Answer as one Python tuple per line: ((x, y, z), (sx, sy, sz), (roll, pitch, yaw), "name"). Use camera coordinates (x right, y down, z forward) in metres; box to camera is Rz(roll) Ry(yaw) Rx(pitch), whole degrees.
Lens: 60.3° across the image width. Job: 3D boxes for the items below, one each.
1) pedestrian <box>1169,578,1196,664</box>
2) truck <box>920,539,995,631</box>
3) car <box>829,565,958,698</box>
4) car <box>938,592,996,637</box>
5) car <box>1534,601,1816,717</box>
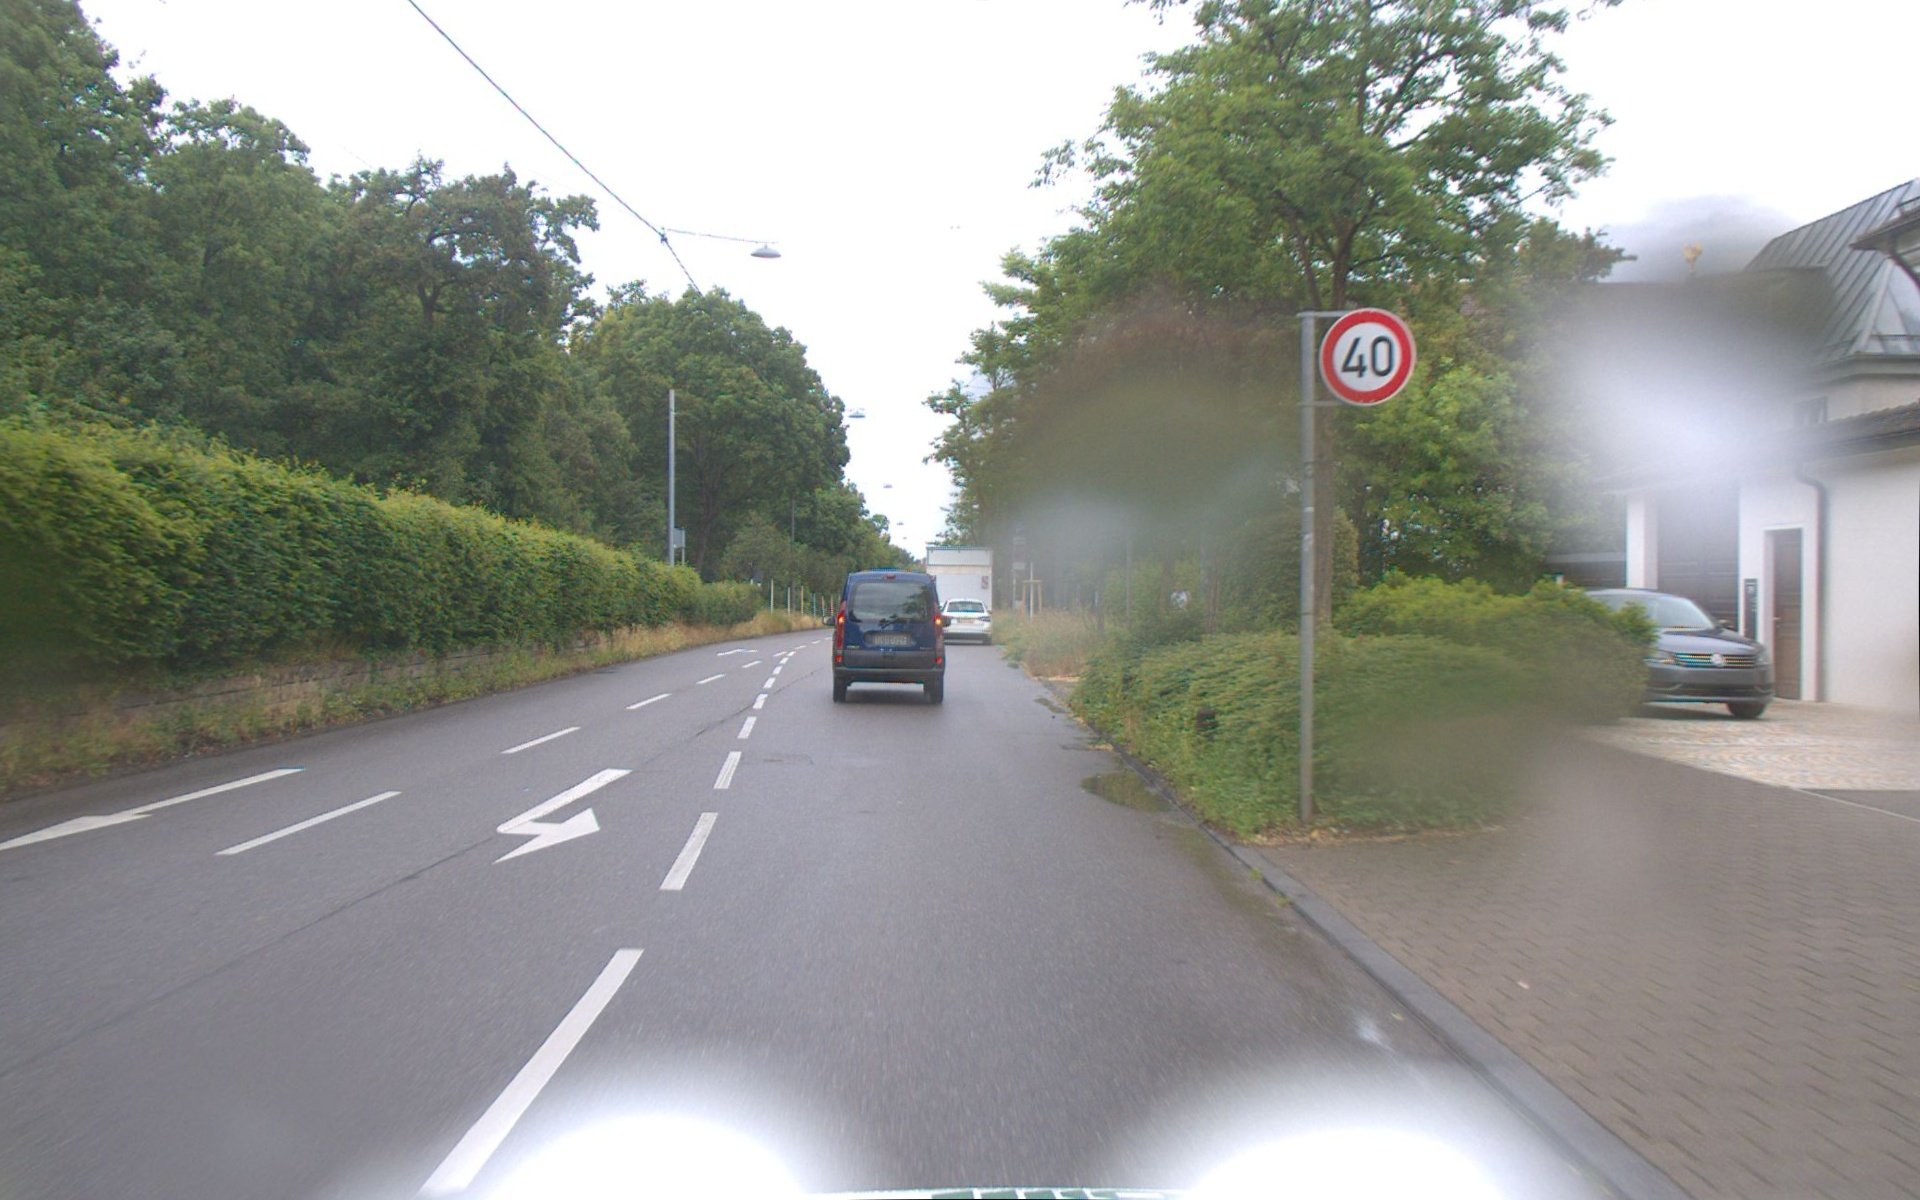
((4.535, 0.415, 33.723), (0.549, 1.738, 0.516), (0, 0, 8), "pedestrian")
((-0.162, -0.567, 65.142), (2.677, 3.446, 6.682), (0, 0, -2), "truck")
((-1.014, 0.425, 24.779), (1.773, 1.829, 3.997), (0, 0, -3), "car")
((0.206, 0.465, 54.460), (1.776, 1.404, 4.283), (0, 0, -2), "car")
((8.379, 0.631, 19.793), (1.793, 1.197, 4.002), (1, 0, 3), "car")
